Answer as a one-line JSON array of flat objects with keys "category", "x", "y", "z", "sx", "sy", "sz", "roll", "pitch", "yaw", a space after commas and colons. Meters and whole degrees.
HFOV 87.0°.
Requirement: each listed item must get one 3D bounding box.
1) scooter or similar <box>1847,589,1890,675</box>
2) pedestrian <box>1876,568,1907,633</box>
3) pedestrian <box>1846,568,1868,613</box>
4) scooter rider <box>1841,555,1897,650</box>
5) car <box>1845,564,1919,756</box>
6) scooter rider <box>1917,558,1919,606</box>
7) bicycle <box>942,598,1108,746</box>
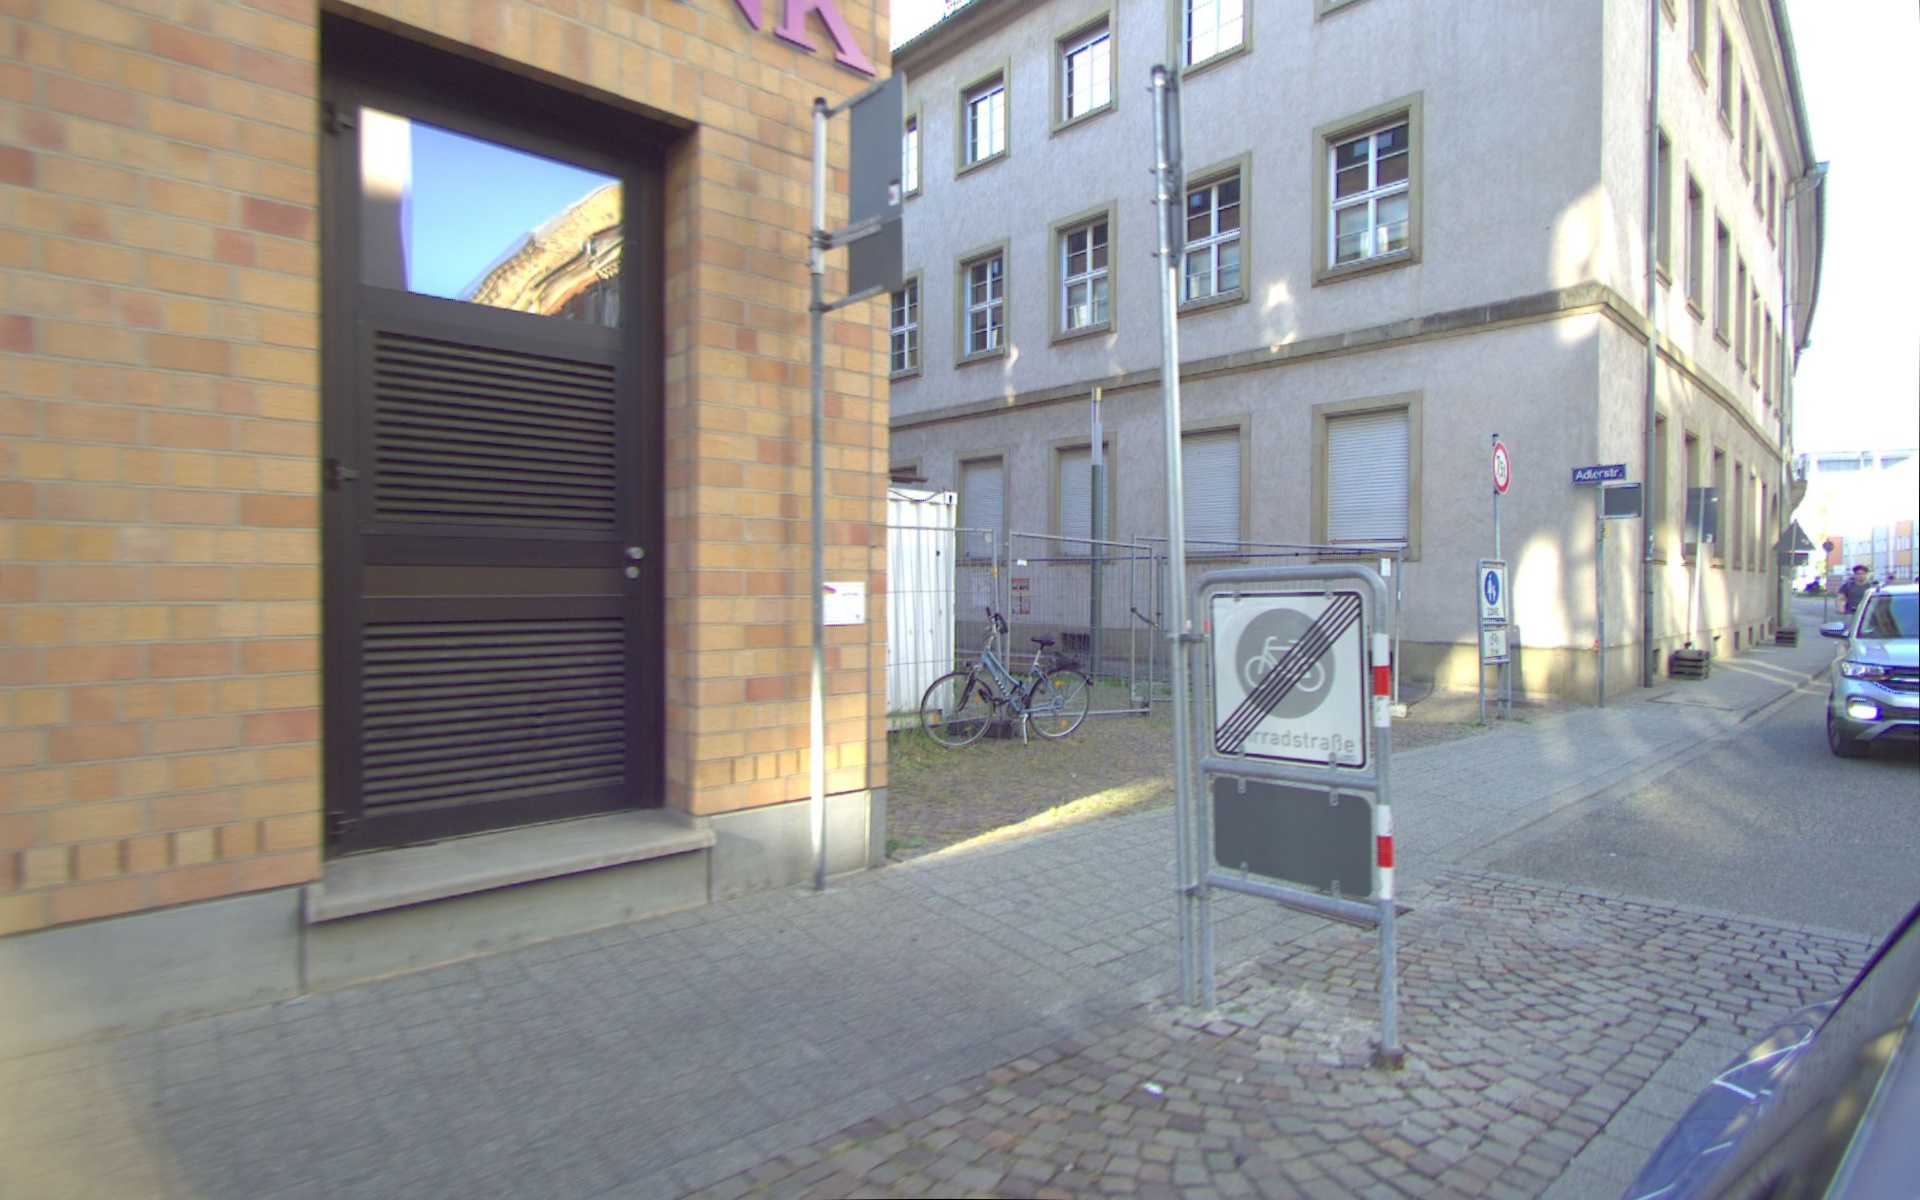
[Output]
[{"category": "scooter or similar", "x": 15.696, "y": 0.519, "z": 17.475, "sx": 0.522, "sy": 1.414, "sz": 1.531, "roll": 0, "pitch": 1, "yaw": 43}, {"category": "pedestrian", "x": 29.606, "y": -0.002, "z": 32.159, "sx": 0.713, "sy": 2.039, "sz": 0.688, "roll": 0, "pitch": 0, "yaw": 43}, {"category": "pedestrian", "x": 40.911, "y": -0.417, "z": 46.160, "sx": 0.713, "sy": 2.039, "sz": 0.688, "roll": 0, "pitch": 0, "yaw": 43}, {"category": "scooter rider", "x": 15.848, "y": 0.043, "z": 17.641, "sx": 0.645, "sy": 1.614, "sz": 0.591, "roll": -3, "pitch": -2, "yaw": 44}, {"category": "car", "x": 9.414, "y": 0.455, "z": 9.413, "sx": 1.757, "sy": 1.566, "sz": 3.940, "roll": 0, "pitch": 0, "yaw": 41}, {"category": "scooter rider", "x": 16.382, "y": 0.047, "z": 16.842, "sx": 0.590, "sy": 1.527, "sz": 0.591, "roll": -3, "pitch": -2, "yaw": 44}, {"category": "bicycle", "x": 0.609, "y": 0.623, "z": 9.266, "sx": 1.550, "sy": 1.266, "sz": 0.320, "roll": -1, "pitch": 0, "yaw": -25}]
